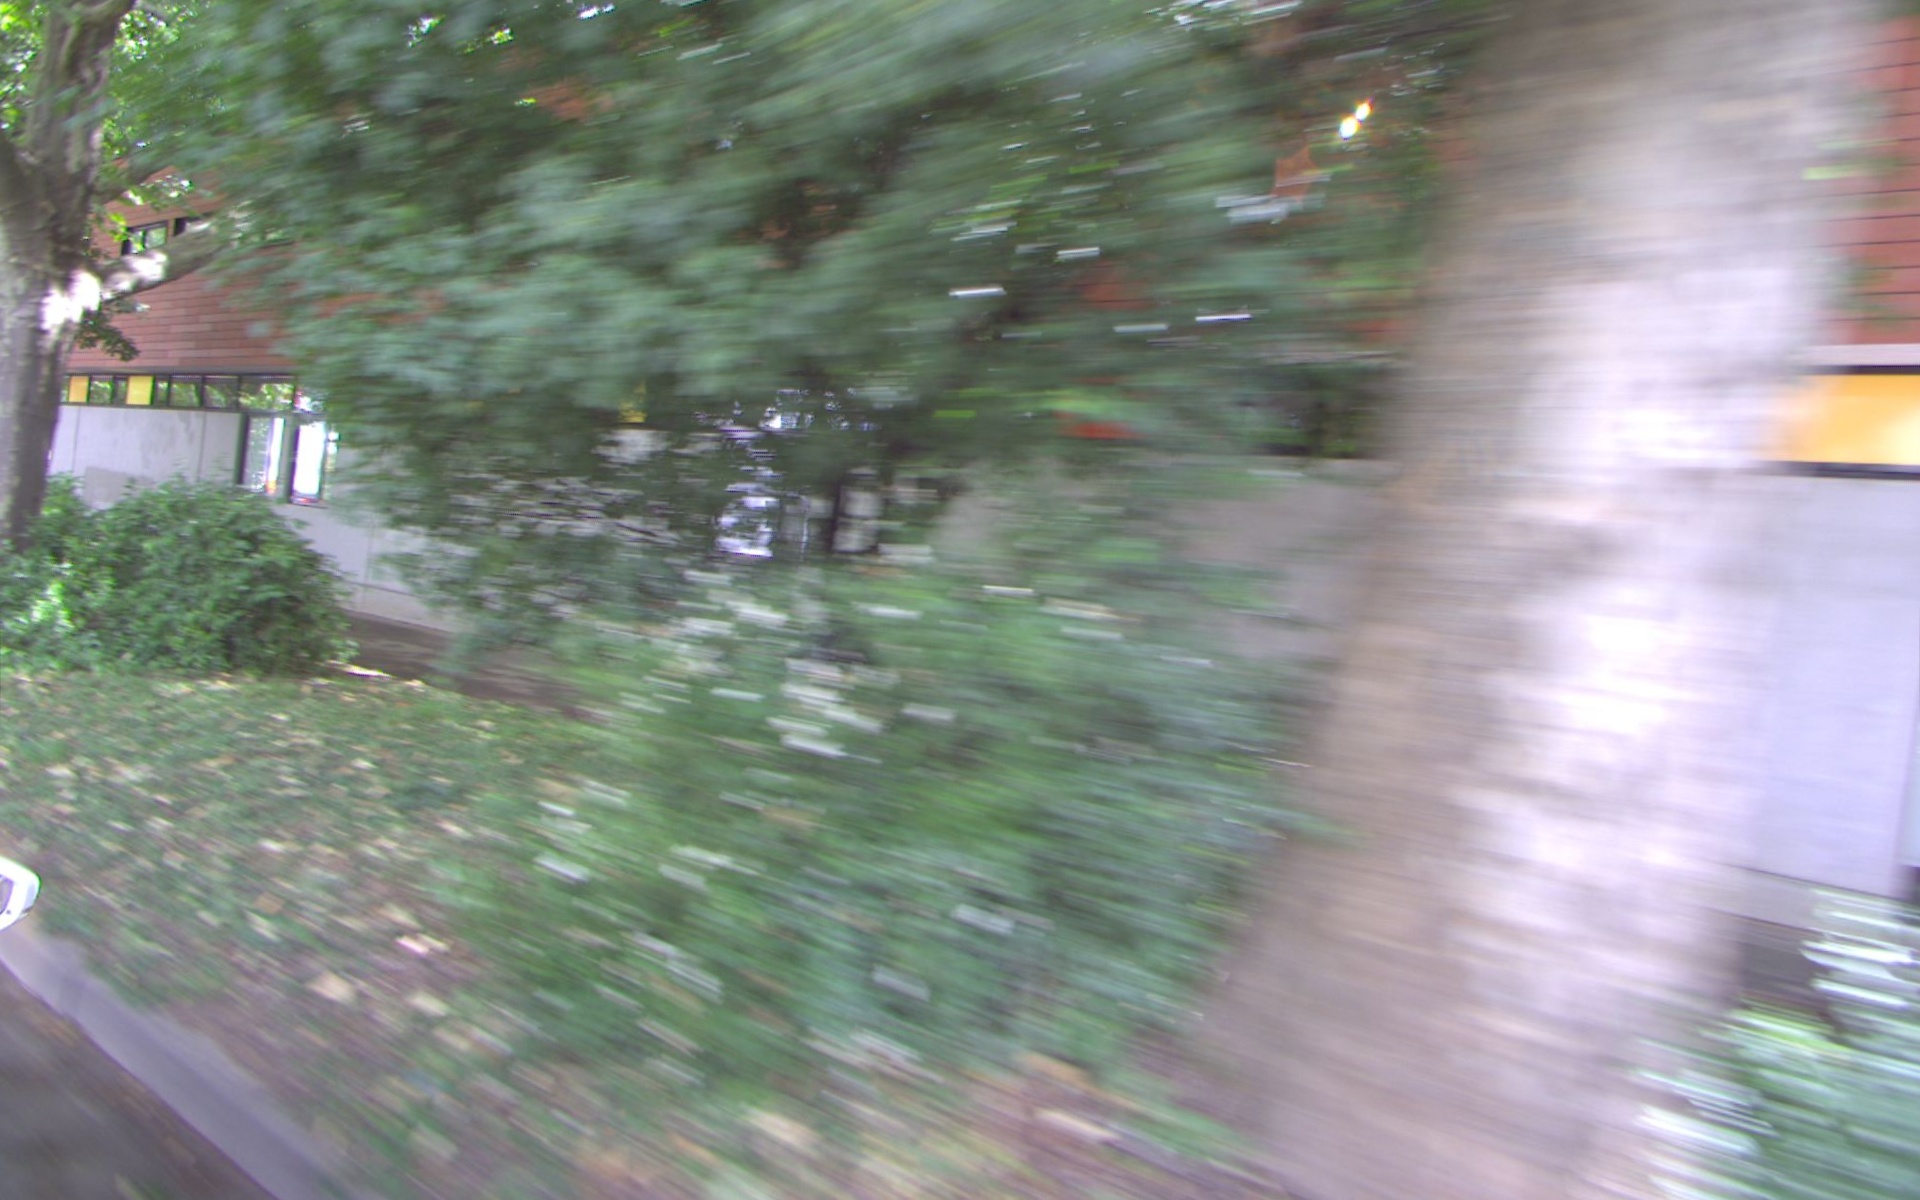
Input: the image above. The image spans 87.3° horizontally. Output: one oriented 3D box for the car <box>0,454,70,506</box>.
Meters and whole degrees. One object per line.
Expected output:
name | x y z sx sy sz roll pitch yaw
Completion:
car | -53.752 -6.922 57.168 2.118 2.393 4.256 7 -1 4
